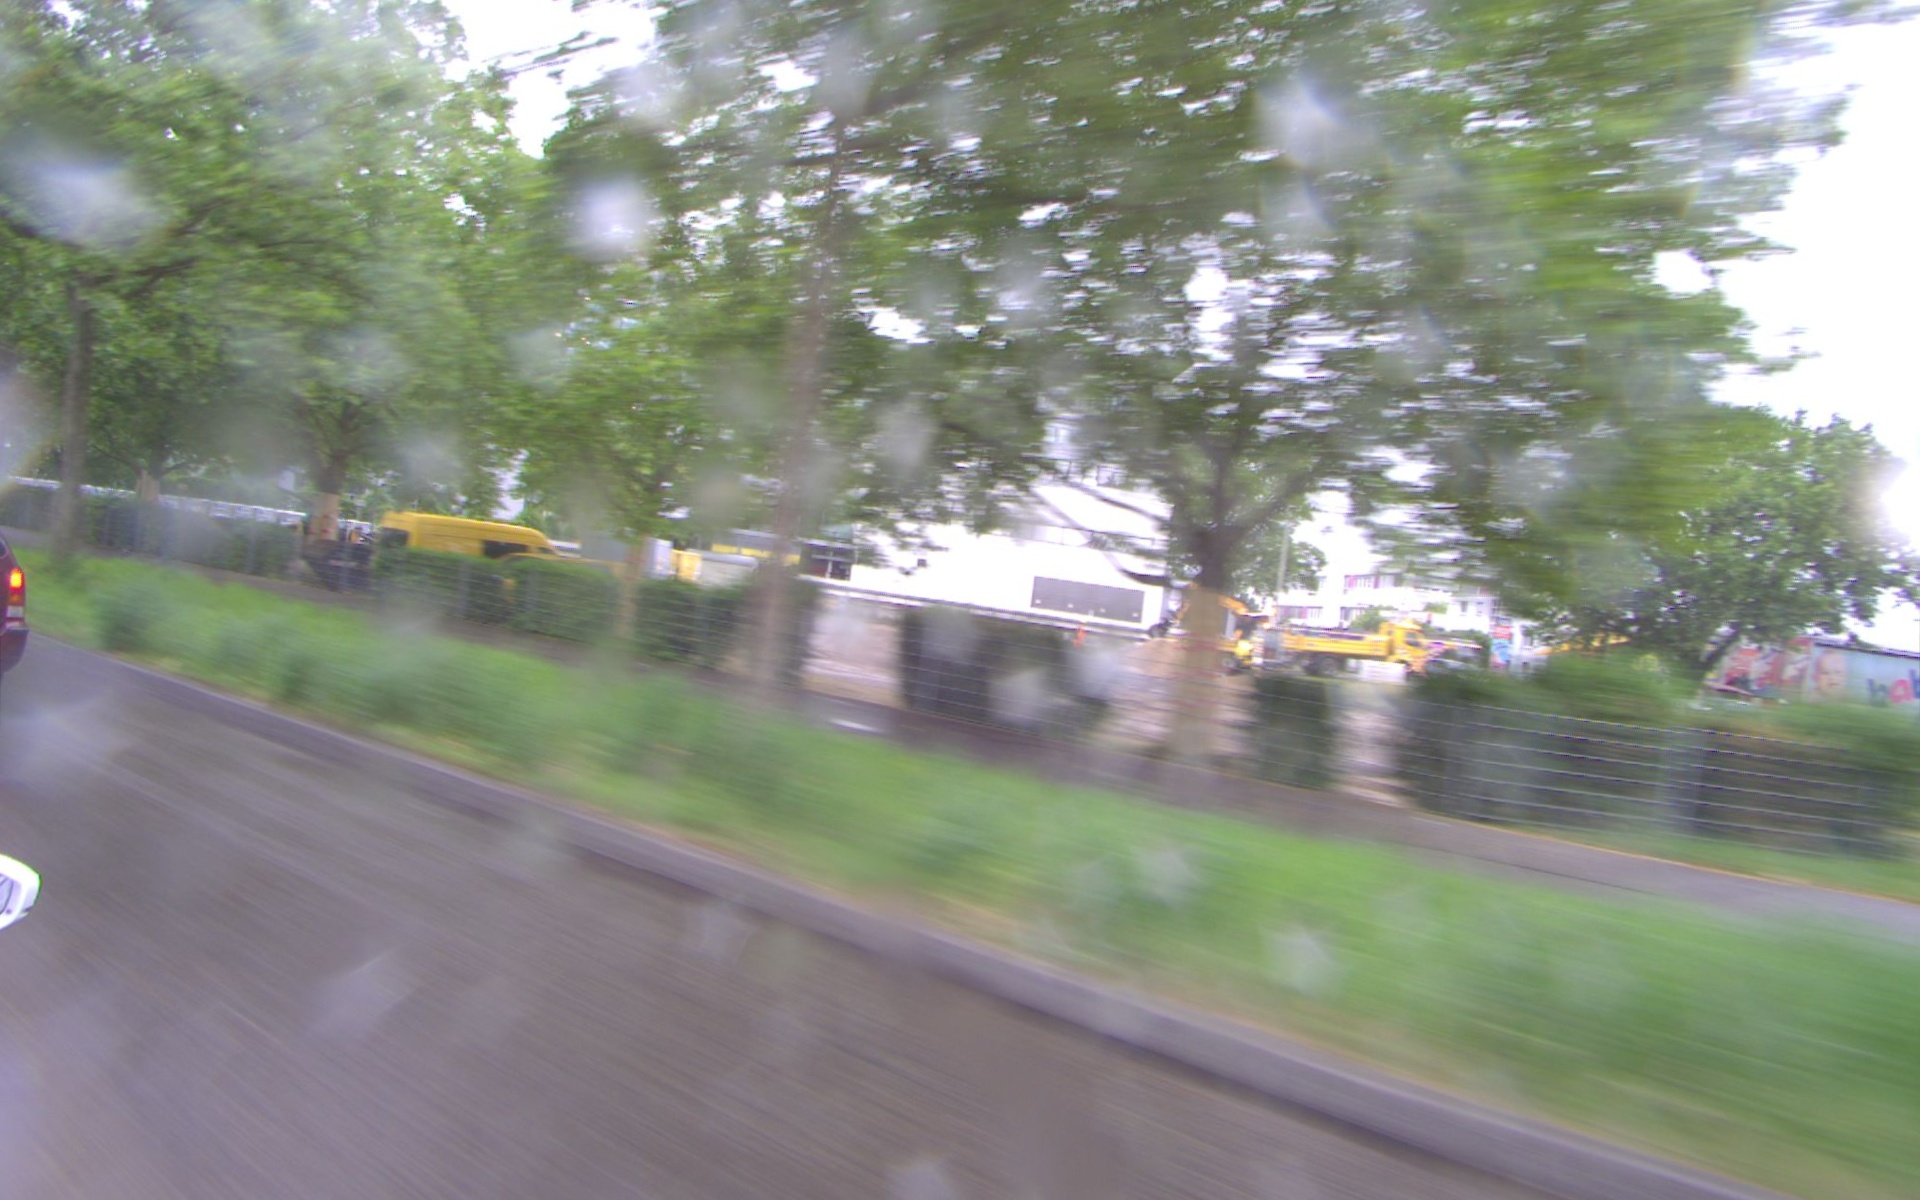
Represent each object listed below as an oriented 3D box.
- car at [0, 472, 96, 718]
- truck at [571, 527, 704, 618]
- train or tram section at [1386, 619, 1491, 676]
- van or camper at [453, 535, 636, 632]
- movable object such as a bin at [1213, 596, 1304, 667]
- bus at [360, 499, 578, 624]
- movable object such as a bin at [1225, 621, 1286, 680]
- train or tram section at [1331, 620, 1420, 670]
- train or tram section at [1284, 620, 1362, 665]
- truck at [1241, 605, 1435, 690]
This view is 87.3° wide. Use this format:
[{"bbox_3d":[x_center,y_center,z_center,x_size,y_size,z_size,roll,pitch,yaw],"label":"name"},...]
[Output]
[{"bbox_3d":[-8.059,-0.282,6.968,4.042,1.554,1.843,7,-2,31],"label":"car"},{"bbox_3d":[-13.675,-0.977,43.653,3.026,3.067,9.502,7,-2,-4],"label":"truck"},{"bbox_3d":[34.087,3.326,72.090,2.359,3.560,8.367,7,-2,-7],"label":"train or tram section"},{"bbox_3d":[-10.602,-0.369,25.980,1.770,1.929,3.998,7,-1,27],"label":"van or camper"},{"bbox_3d":[17.816,1.835,60.149,3.566,3.670,3.301,7,0,-24],"label":"movable object such as a bin"},{"bbox_3d":[-13.263,-0.958,27.497,1.967,2.679,4.800,7,-1,32],"label":"bus"},{"bbox_3d":[13.439,2.260,45.894,1.975,2.384,3.284,7,0,8],"label":"movable object such as a bin"},{"bbox_3d":[33.069,3.521,80.458,2.359,3.560,8.527,7,-2,-7],"label":"train or tram section"},{"bbox_3d":[32.014,3.716,89.254,2.359,3.560,9.109,7,-2,-7],"label":"train or tram section"},{"bbox_3d":[20.167,2.545,53.960,9.300,3.384,2.496,7,-1,-4],"label":"truck"}]
